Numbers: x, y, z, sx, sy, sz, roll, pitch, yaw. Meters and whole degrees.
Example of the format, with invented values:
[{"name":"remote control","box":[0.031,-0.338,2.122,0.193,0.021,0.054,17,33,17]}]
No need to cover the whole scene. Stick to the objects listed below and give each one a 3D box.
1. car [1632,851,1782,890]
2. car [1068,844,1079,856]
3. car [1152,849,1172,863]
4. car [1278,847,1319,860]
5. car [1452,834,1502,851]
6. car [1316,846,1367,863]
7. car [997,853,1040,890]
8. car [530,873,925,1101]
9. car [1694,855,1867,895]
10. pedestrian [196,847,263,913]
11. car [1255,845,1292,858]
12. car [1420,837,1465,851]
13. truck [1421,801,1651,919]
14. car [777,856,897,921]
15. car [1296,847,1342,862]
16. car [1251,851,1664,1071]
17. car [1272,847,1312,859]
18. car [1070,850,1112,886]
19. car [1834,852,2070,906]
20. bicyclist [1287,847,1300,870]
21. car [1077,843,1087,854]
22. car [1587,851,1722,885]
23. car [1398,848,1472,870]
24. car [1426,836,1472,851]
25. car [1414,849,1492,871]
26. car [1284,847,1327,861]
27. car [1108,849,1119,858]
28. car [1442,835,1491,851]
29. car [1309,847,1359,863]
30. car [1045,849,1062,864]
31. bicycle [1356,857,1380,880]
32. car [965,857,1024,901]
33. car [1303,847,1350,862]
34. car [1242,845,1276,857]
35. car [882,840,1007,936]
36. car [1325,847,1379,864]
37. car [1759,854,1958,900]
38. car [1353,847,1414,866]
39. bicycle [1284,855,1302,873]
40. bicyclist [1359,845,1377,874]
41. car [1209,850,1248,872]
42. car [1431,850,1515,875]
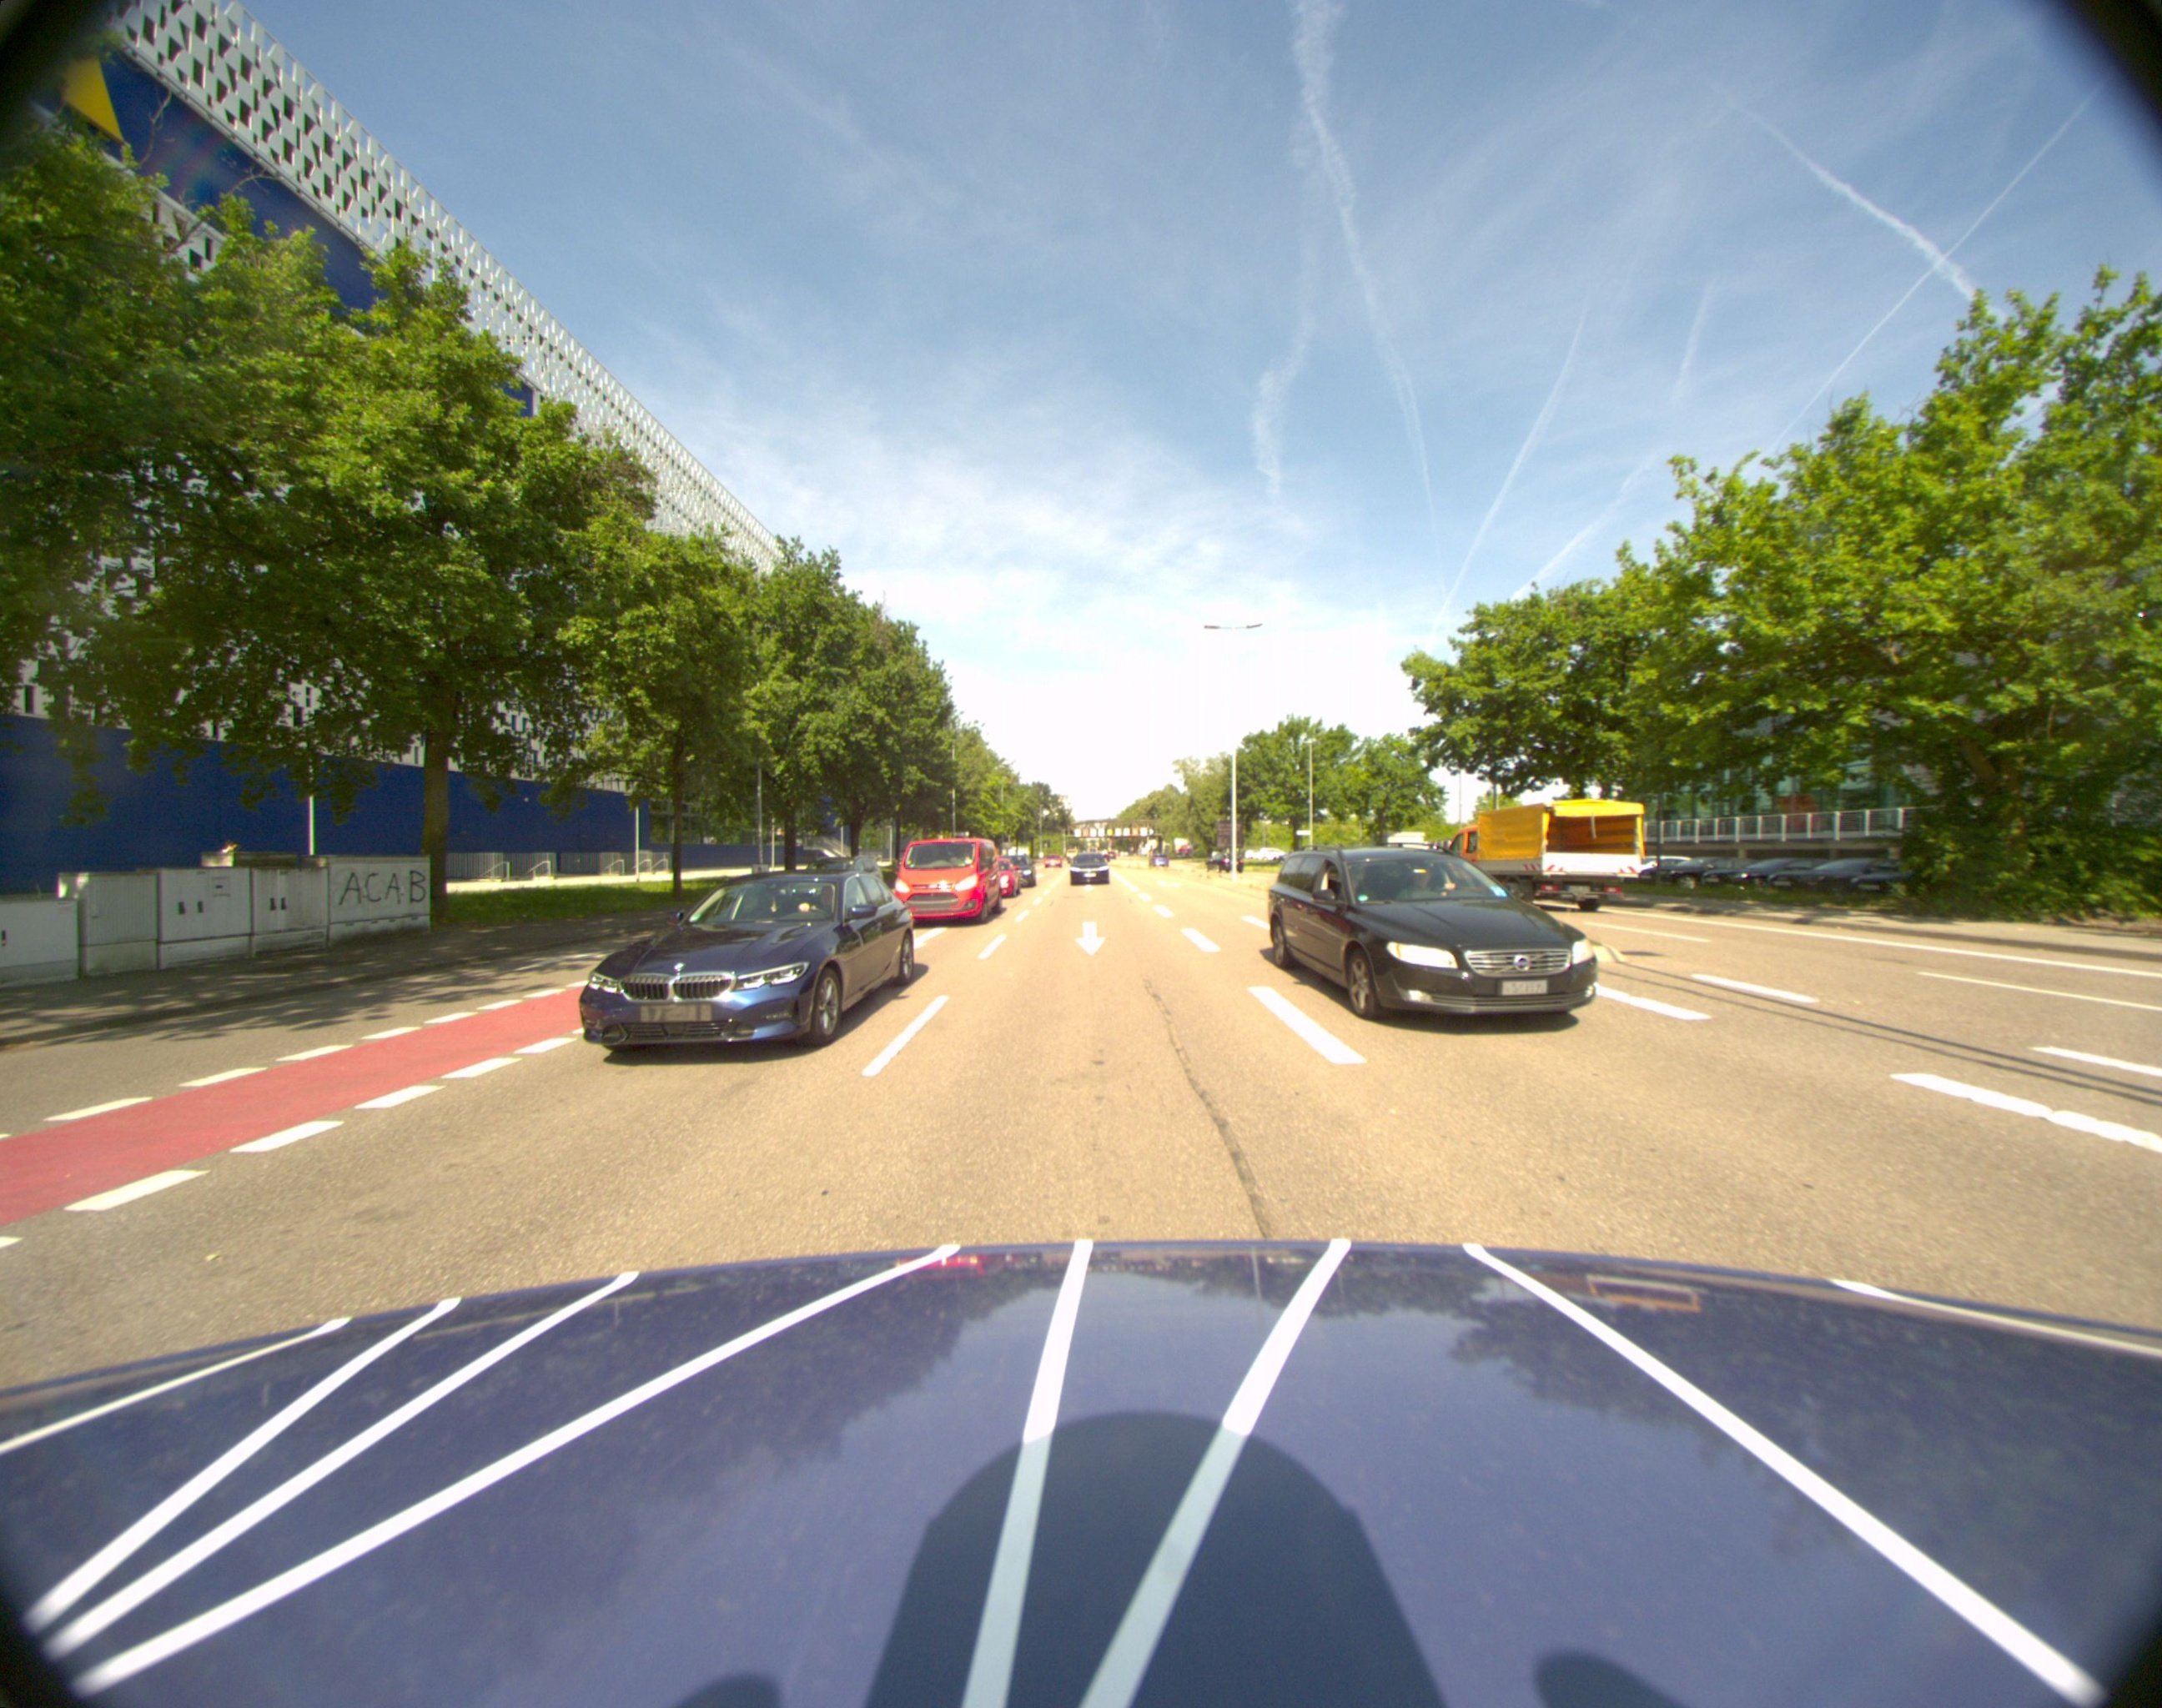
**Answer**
[{"name":"car","box":[23.634,0.597,28.812,4.196,1.239,1.690,3,1,2]},{"name":"car","box":[-1.355,-0.783,138.550,1.998,2.002,3.999,-3,1,0]},{"name":"car","box":[8.834,0.163,82.824,1.732,1.430,3.869,2,0,0]},{"name":"car","box":[25.000,-0.064,87.456,4.196,1.315,1.690,3,1,2]},{"name":"car","box":[40.628,-1.154,78.019,4.196,1.490,1.690,3,1,2]},{"name":"car","box":[24.569,0.035,71.643,4.196,1.315,1.690,3,1,2]},{"name":"car","box":[-2.882,0.782,35.721,1.649,1.531,3.999,-3,1,-1]},{"name":"car","box":[-2.958,0.997,7.639,1.800,1.421,4.537,-2,0,0]},{"name":"car","box":[23.791,0.678,25.953,4.196,1.116,1.719,3,1,2]},{"name":"pedestrian","box":[-20.172,0.604,18.008,0.680,1.537,0.780,0,1,1]},{"name":"car","box":[24.238,-0.286,95.689,4.196,1.490,1.690,3,1,2]},{"name":"car","box":[40.988,-1.134,86.167,4.196,1.490,1.690,3,1,2]},{"name":"truck","box":[11.807,0.128,20.570,2.381,2.609,6.673,2,0,2]},{"name":"car","box":[-7.261,0.955,23.161,1.998,1.646,4.391,-2,1,3]},{"name":"car","box":[24.935,0.032,79.724,4.196,1.315,1.690,3,1,2]},{"name":"car","box":[3.263,0.765,7.916,1.882,1.513,4.868,-2,0,0]},{"name":"car","box":[25.057,-0.131,90.245,4.196,1.315,1.690,3,1,2]},{"name":"car","box":[0.460,0.639,36.868,1.847,1.531,3.999,-3,1,0]},{"name":"car","box":[23.526,0.641,20.648,4.196,1.220,1.797,3,1,2]},{"name":"bicyclist","box":[14.329,0.295,51.237,0.578,1.587,0.910,1,1,-6]},{"name":"car","box":[0.254,-1.143,158.094,1.998,2.002,3.999,-3,1,0]},{"name":"car","box":[23.560,0.563,31.310,4.196,1.188,1.690,3,1,2]},{"name":"car","box":[24.056,0.329,51.778,4.196,1.315,1.690,3,1,2]},{"name":"car","box":[40.603,-1.139,83.881,4.196,1.490,1.690,3,1,2]},{"name":"car","box":[24.081,0.392,49.310,4.196,1.239,1.690,3,1,2]},{"name":"car","box":[25.061,-0.012,84.955,4.196,1.315,1.690,3,1,2]},{"name":"car","box":[5.964,-0.066,139.231,1.866,1.503,4.000,0,0,2]},{"name":"car","box":[40.735,-1.136,80.308,4.196,1.490,1.690,3,1,2]},{"name":"car","box":[24.676,0.073,74.174,4.196,1.315,1.690,3,1,2]},{"name":"car","box":[-2.881,0.231,80.266,1.649,1.531,3.999,-3,1,-1]},{"name":"bicycle","box":[14.684,0.739,38.934,0.572,1.143,1.925,0,1,3]},{"name":"car","box":[-3.082,0.870,27.771,1.692,1.414,3.915,-1,1,-1]},{"name":"car","box":[24.922,0.035,77.187,4.196,1.315,1.690,3,1,2]},{"name":"car","box":[24.250,-0.386,103.473,4.196,1.371,1.690,3,1,2]},{"name":"car","box":[-3.032,0.677,17.967,2.014,1.896,4.809,-2,1,0]},{"name":"car","box":[24.605,0.157,69.066,4.196,1.315,1.690,3,1,2]},{"name":"car","box":[23.620,0.674,23.197,4.196,1.128,1.695,3,1,2]},{"name":"car","box":[24.445,0.198,61.412,4.196,1.315,1.690,3,1,2]},{"name":"bicycle","box":[14.329,0.657,51.350,0.573,1.143,1.769,1,1,-5]},{"name":"bicyclist","box":[14.684,0.259,38.883,0.571,1.474,1.143,0,1,3]},{"name":"car","box":[10.880,0.504,56.399,1.851,1.451,4.663,2,0,-1]},{"name":"car","box":[24.043,0.525,46.712,4.196,1.317,1.690,3,1,2]}]
